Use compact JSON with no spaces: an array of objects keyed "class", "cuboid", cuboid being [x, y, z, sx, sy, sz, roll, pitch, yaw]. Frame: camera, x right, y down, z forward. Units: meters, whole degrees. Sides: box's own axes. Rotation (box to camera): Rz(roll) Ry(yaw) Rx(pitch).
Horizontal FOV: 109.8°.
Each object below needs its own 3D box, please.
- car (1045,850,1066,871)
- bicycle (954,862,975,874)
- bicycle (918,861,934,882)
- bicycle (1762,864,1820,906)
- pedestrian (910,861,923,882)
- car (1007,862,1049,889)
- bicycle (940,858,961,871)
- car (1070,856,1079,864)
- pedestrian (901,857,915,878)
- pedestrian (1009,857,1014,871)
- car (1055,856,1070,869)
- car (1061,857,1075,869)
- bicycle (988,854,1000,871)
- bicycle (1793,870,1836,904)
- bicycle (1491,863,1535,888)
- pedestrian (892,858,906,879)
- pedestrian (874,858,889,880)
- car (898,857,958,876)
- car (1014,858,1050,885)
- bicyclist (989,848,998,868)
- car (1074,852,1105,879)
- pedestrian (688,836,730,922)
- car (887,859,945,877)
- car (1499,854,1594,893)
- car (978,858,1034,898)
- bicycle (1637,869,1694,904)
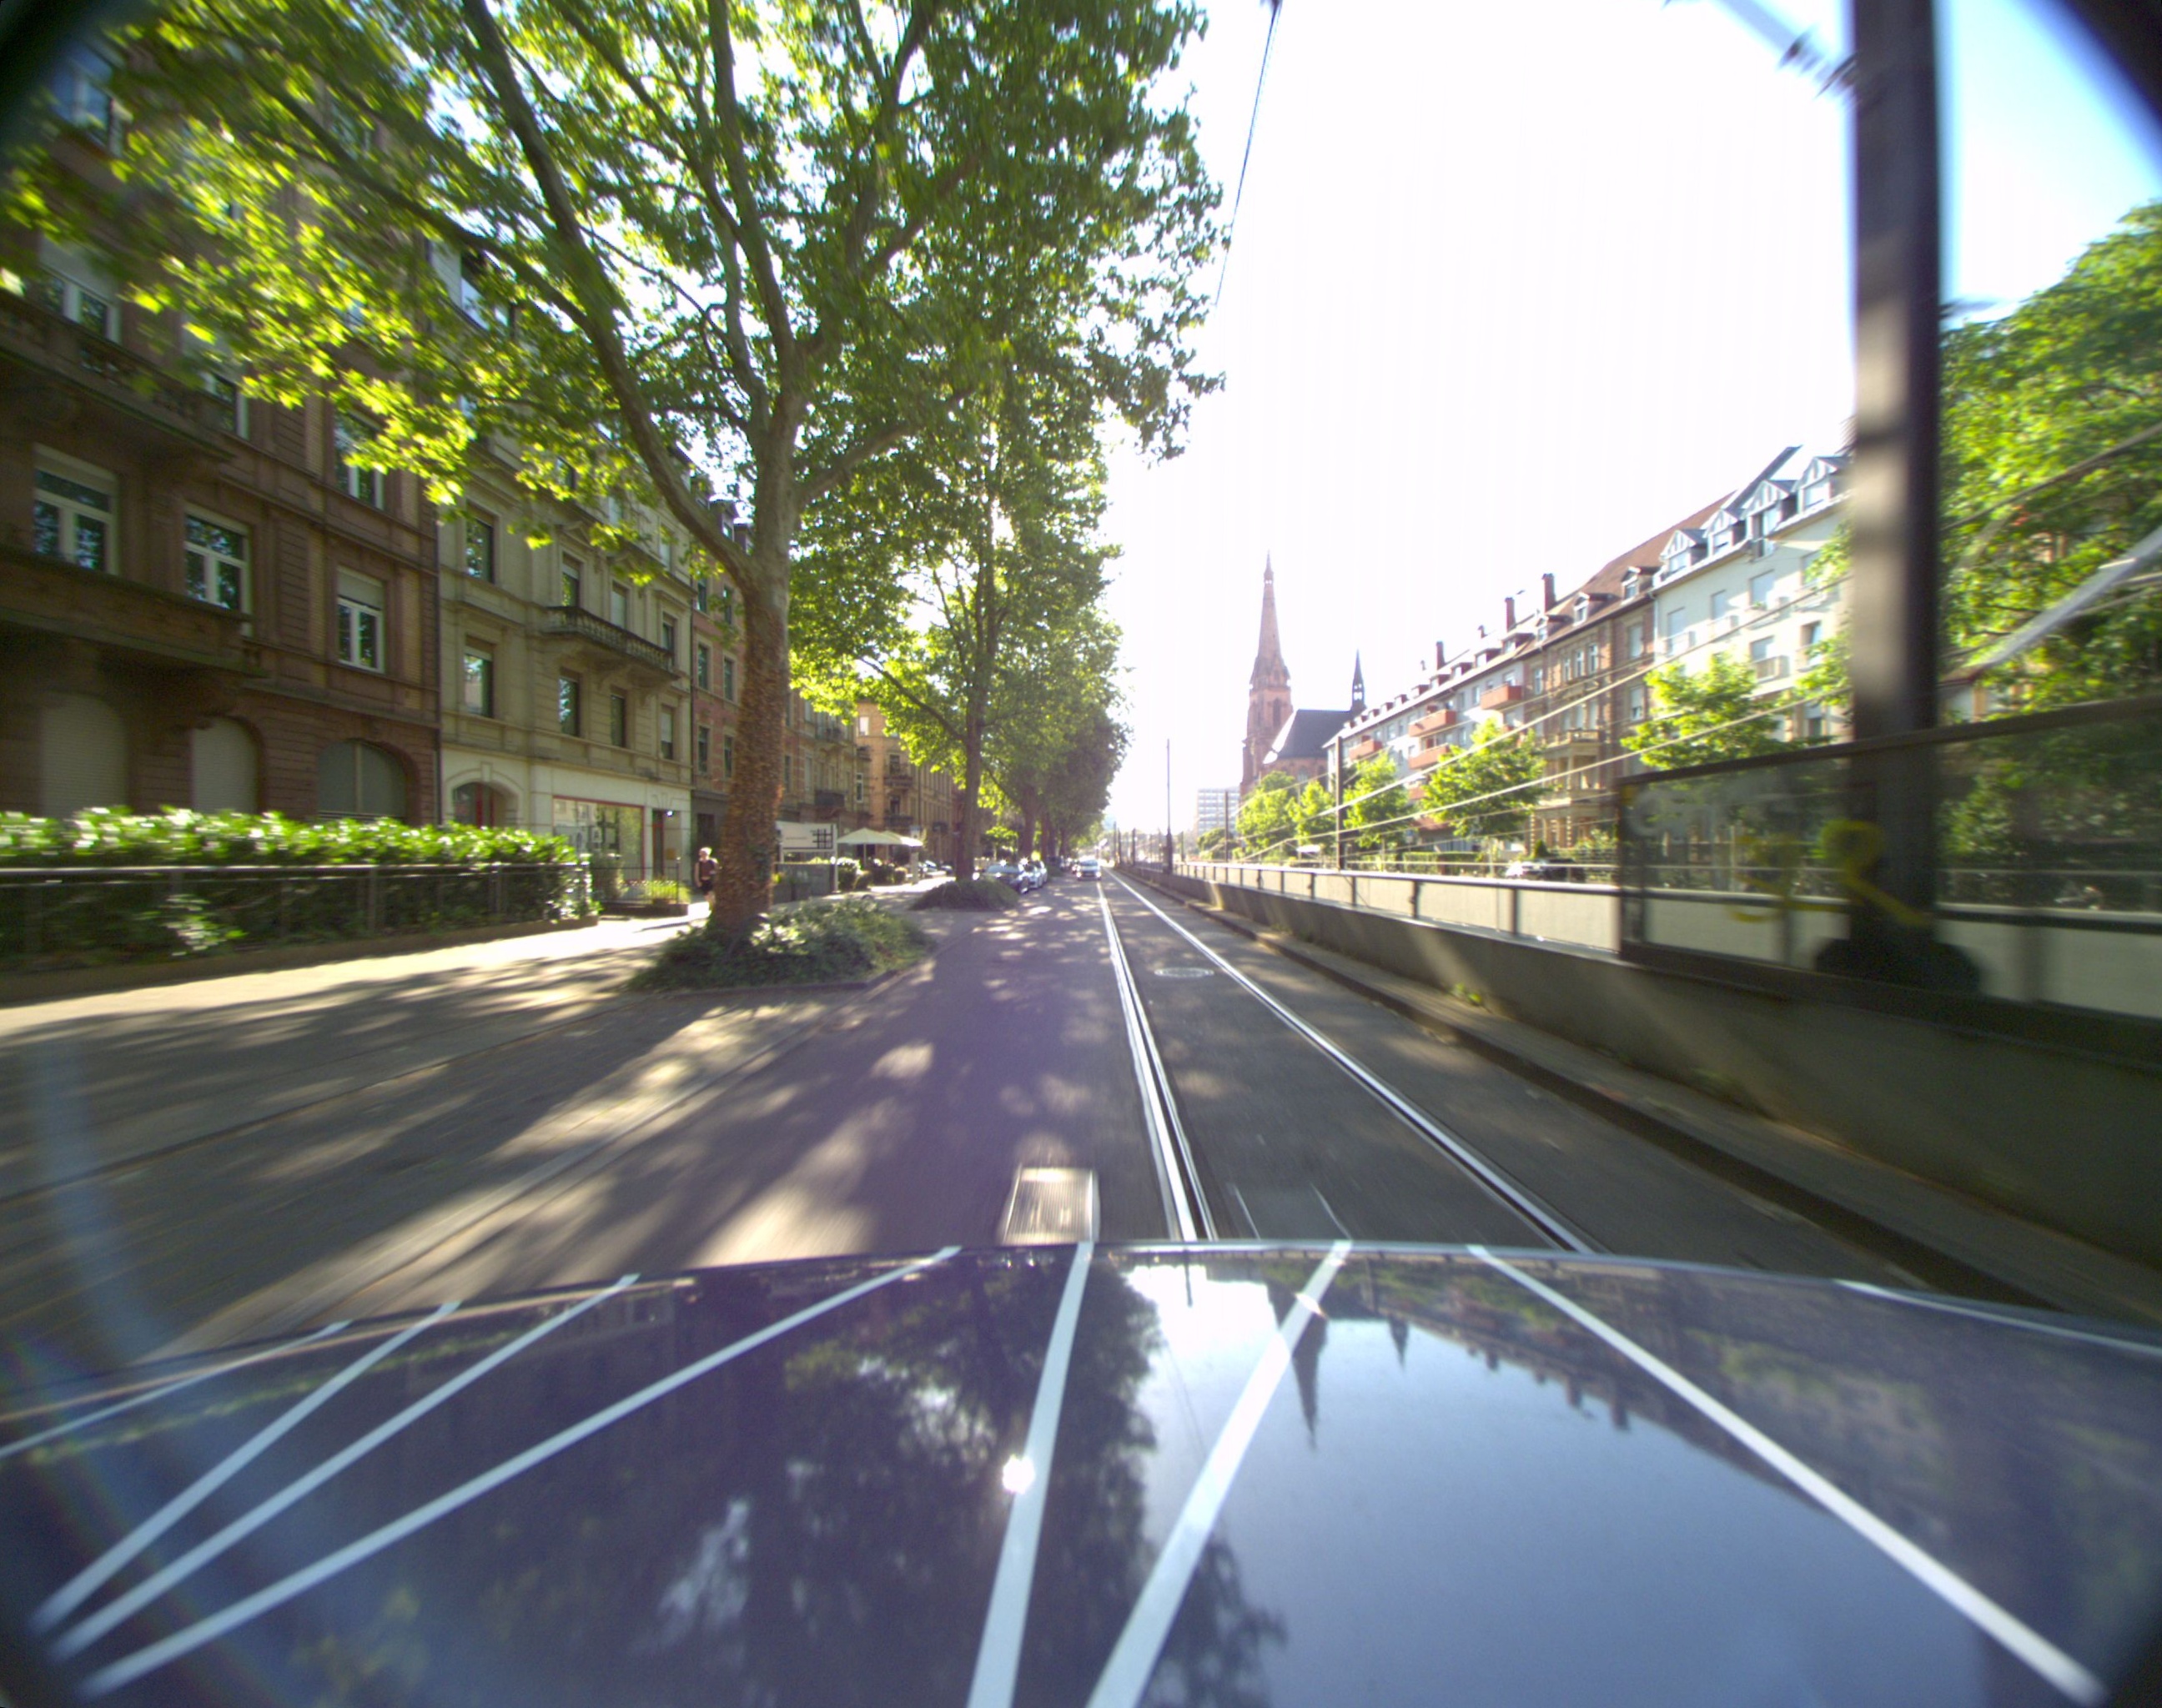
[{"class":"car","cuboid":[-2.555,0.681,77.213,1.999,2.001,5.202,0,-1,0]},{"class":"bicycle","cuboid":[-9.928,1.188,64.692,1.696,0.911,0.602,-1,0,-10]},{"class":"bicycle","cuboid":[-8.874,1.012,43.622,0.476,1.137,1.896,2,0,1]},{"class":"bicycle","cuboid":[21.459,0.929,22.950,2.379,1.092,0.556,-3,0,-29]},{"class":"pedestrian","cuboid":[-10.472,1.108,48.411,0.714,1.292,0.662,-1,1,0]},{"class":"car","cuboid":[-2.726,1.095,39.874,1.834,1.319,4.000,-1,0,1]},{"class":"bicycle","cuboid":[-12.097,0.980,70.285,1.866,1.147,0.476,0,1,4]},{"class":"car","cuboid":[-1.273,1.188,155.105,1.680,1.507,4.723,0,0,2]},{"class":"pedestrian","cuboid":[-10.754,0.810,47.269,0.714,1.292,0.662,-1,1,0]},{"class":"pedestrian","cuboid":[-7.894,1.163,86.309,0.531,1.618,0.618,1,-1,1]},{"class":"car","cuboid":[-2.252,0.996,93.494,1.718,1.540,4.500,1,1,1]},{"class":"car","cuboid":[-1.730,1.109,99.558,1.719,1.454,3.999,0,1,0]},{"class":"bicycle","cuboid":[-6.272,0.618,54.656,0.562,1.171,2.226,-3,-1,-1]},{"class":"bicycle","cuboid":[21.549,0.958,22.333,1.270,0.900,0.538,-3,0,-29]},{"class":"bicycle","cuboid":[22.001,1.093,38.702,1.812,1.171,0.562,-3,0,3]},{"class":"pedestrian","cuboid":[-11.102,0.873,46.341,0.714,1.292,0.663,-1,1,1]},{"class":"pedestrian","cuboid":[-11.849,0.867,45.175,0.714,1.292,0.663,-1,1,2]},{"class":"car","cuboid":[-12.627,1.020,63.033,4.615,1.539,1.922,-1,0,-4]},{"class":"car","cuboid":[-2.866,0.982,45.098,1.807,1.468,4.646,-1,0,0]},{"class":"bicyclist","cuboid":[-6.287,0.272,54.668,0.544,1.372,0.644,-3,-1,-1]},{"class":"car","cuboid":[0.623,0.820,53.564,1.823,1.728,4.003,-3,-2,4]},{"class":"pedestrian","cuboid":[-8.872,0.584,18.149,0.674,2.002,0.633,0,1,1]},{"class":"car","cuboid":[-12.515,1.080,57.813,3.998,1.356,1.743,0,-1,-2]},{"class":"car","cuboid":[21.488,0.866,35.279,1.837,1.575,4.000,-3,0,-1]},{"class":"car","cuboid":[-3.154,0.976,32.895,1.736,1.527,4.805,-1,0,2]},{"class":"bicycle","cuboid":[21.109,1.157,27.429,2.791,1.092,0.641,-3,0,-31]}]
